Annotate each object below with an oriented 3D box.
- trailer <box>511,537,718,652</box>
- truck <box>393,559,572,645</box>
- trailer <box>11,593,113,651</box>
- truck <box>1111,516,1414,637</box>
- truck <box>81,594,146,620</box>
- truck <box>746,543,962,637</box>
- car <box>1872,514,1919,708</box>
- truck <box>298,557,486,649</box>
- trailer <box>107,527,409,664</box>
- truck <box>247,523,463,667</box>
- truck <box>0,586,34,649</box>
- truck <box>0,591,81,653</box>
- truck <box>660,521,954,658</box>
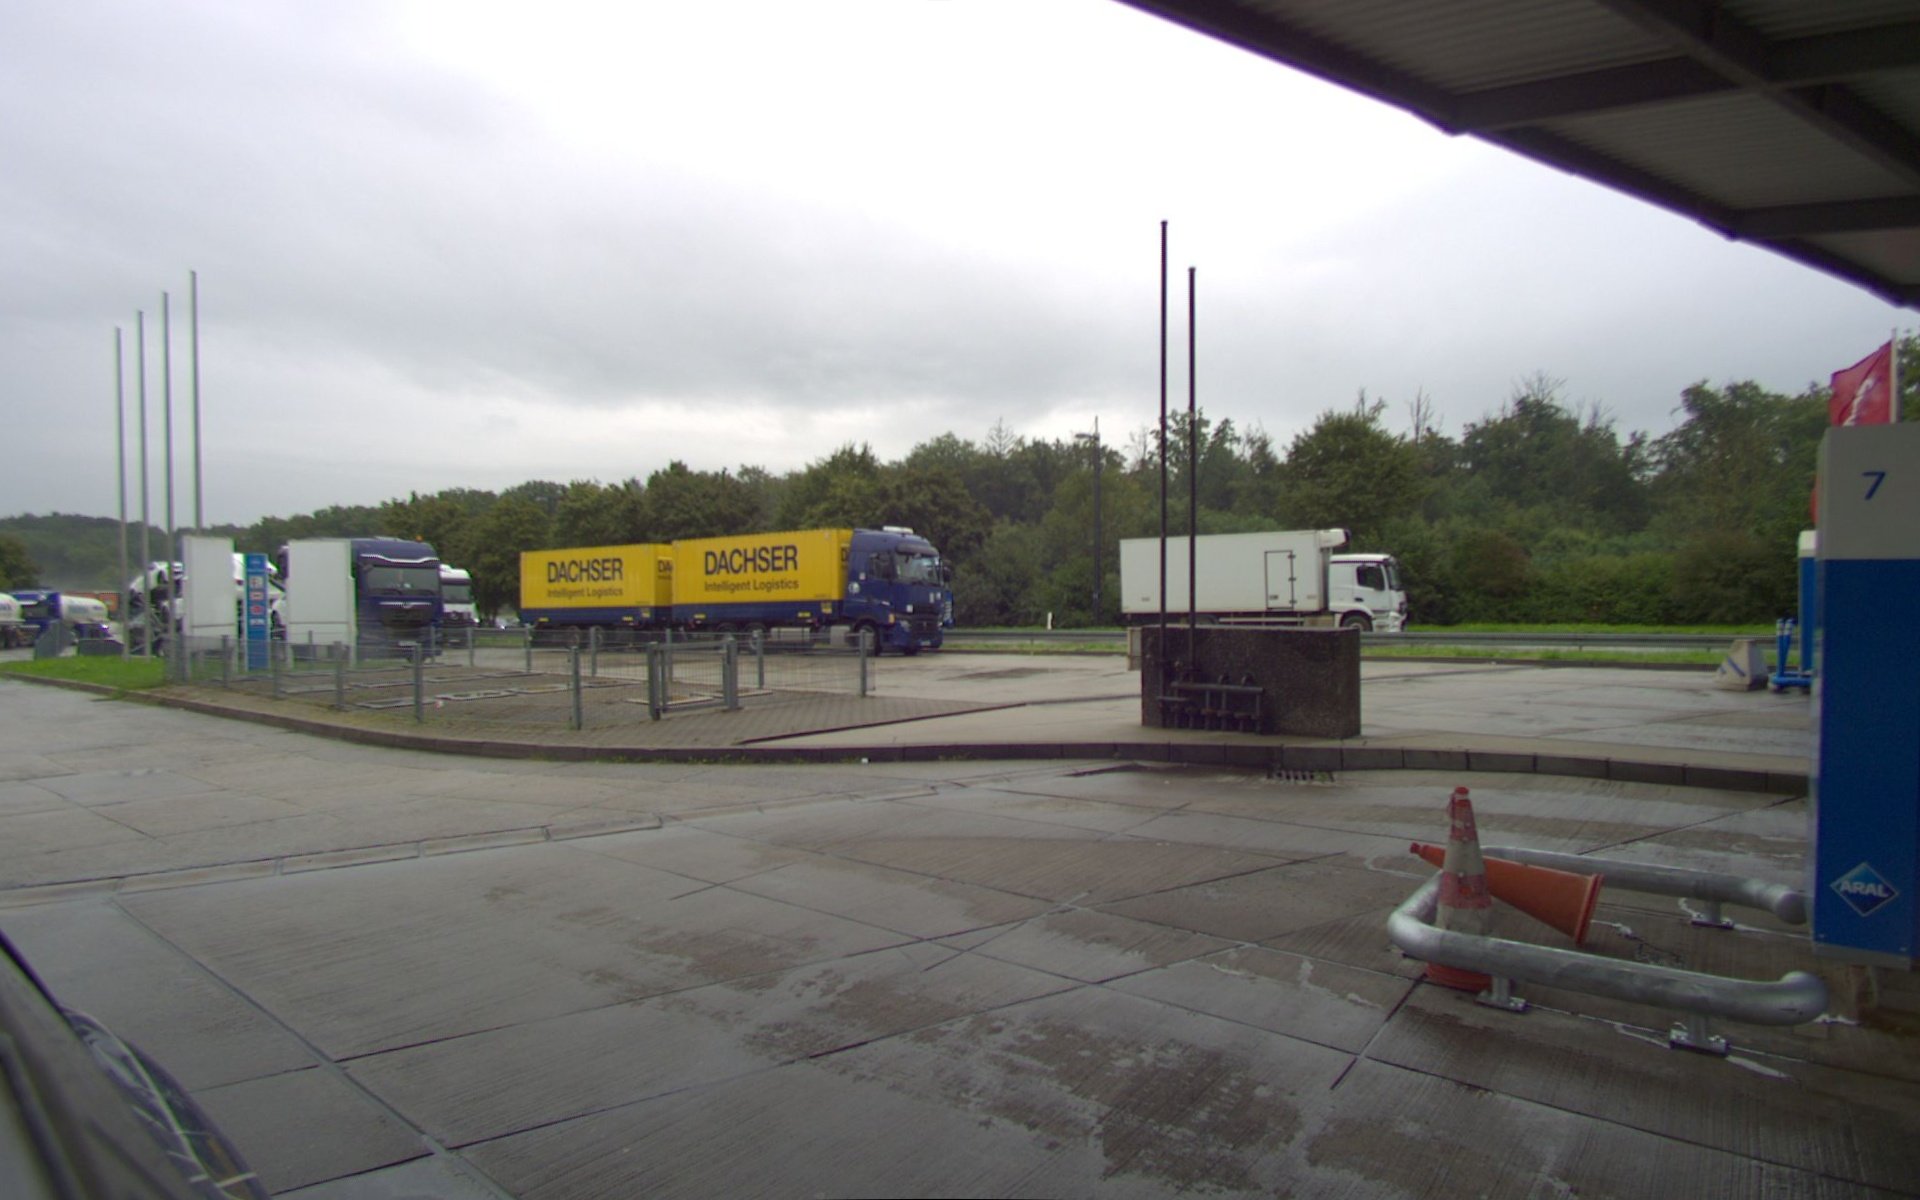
[{"bbox_3d":[-13.545,-0.165,39.289,8.833,4.063,2.743,-1,0,33],"label":"trailer"},{"bbox_3d":[-24.779,0.143,52.275,10.433,4.063,2.961,-1,0,30],"label":"truck"},{"bbox_3d":[-62.268,1.436,70.483,2.854,3.666,10.605,-1,0,-28],"label":"trailer"},{"bbox_3d":[11.074,-0.736,37.699,10.433,4.063,2.961,-1,0,30],"label":"truck"},{"bbox_3d":[-122.822,1.076,146.797,14.626,3.591,3.214,-1,-2,34],"label":"truck"},{"bbox_3d":[-5.139,-0.403,47.690,10.433,4.063,2.961,-1,0,30],"label":"truck"},{"bbox_3d":[14.880,0.113,12.388,5.272,2.482,2.298,-1,-2,37],"label":"car"},{"bbox_3d":[-27.300,0.177,48.446,10.433,4.063,2.961,-1,0,30],"label":"truck"},{"bbox_3d":[-25.416,-0.056,35.925,16.563,4.063,2.957,-1,0,34],"label":"trailer"},{"bbox_3d":[-18.992,-0.113,31.622,7.244,4.063,2.957,-1,0,34],"label":"truck"},{"bbox_3d":[-55.557,1.020,55.017,3.196,3.591,12.013,-1,0,-19],"label":"truck"},{"bbox_3d":[-59.423,1.372,64.996,3.000,3.795,6.486,-1,0,-27],"label":"truck"},{"bbox_3d":[-5.390,-0.270,33.956,10.608,4.063,2.743,-1,0,33],"label":"truck"}]
